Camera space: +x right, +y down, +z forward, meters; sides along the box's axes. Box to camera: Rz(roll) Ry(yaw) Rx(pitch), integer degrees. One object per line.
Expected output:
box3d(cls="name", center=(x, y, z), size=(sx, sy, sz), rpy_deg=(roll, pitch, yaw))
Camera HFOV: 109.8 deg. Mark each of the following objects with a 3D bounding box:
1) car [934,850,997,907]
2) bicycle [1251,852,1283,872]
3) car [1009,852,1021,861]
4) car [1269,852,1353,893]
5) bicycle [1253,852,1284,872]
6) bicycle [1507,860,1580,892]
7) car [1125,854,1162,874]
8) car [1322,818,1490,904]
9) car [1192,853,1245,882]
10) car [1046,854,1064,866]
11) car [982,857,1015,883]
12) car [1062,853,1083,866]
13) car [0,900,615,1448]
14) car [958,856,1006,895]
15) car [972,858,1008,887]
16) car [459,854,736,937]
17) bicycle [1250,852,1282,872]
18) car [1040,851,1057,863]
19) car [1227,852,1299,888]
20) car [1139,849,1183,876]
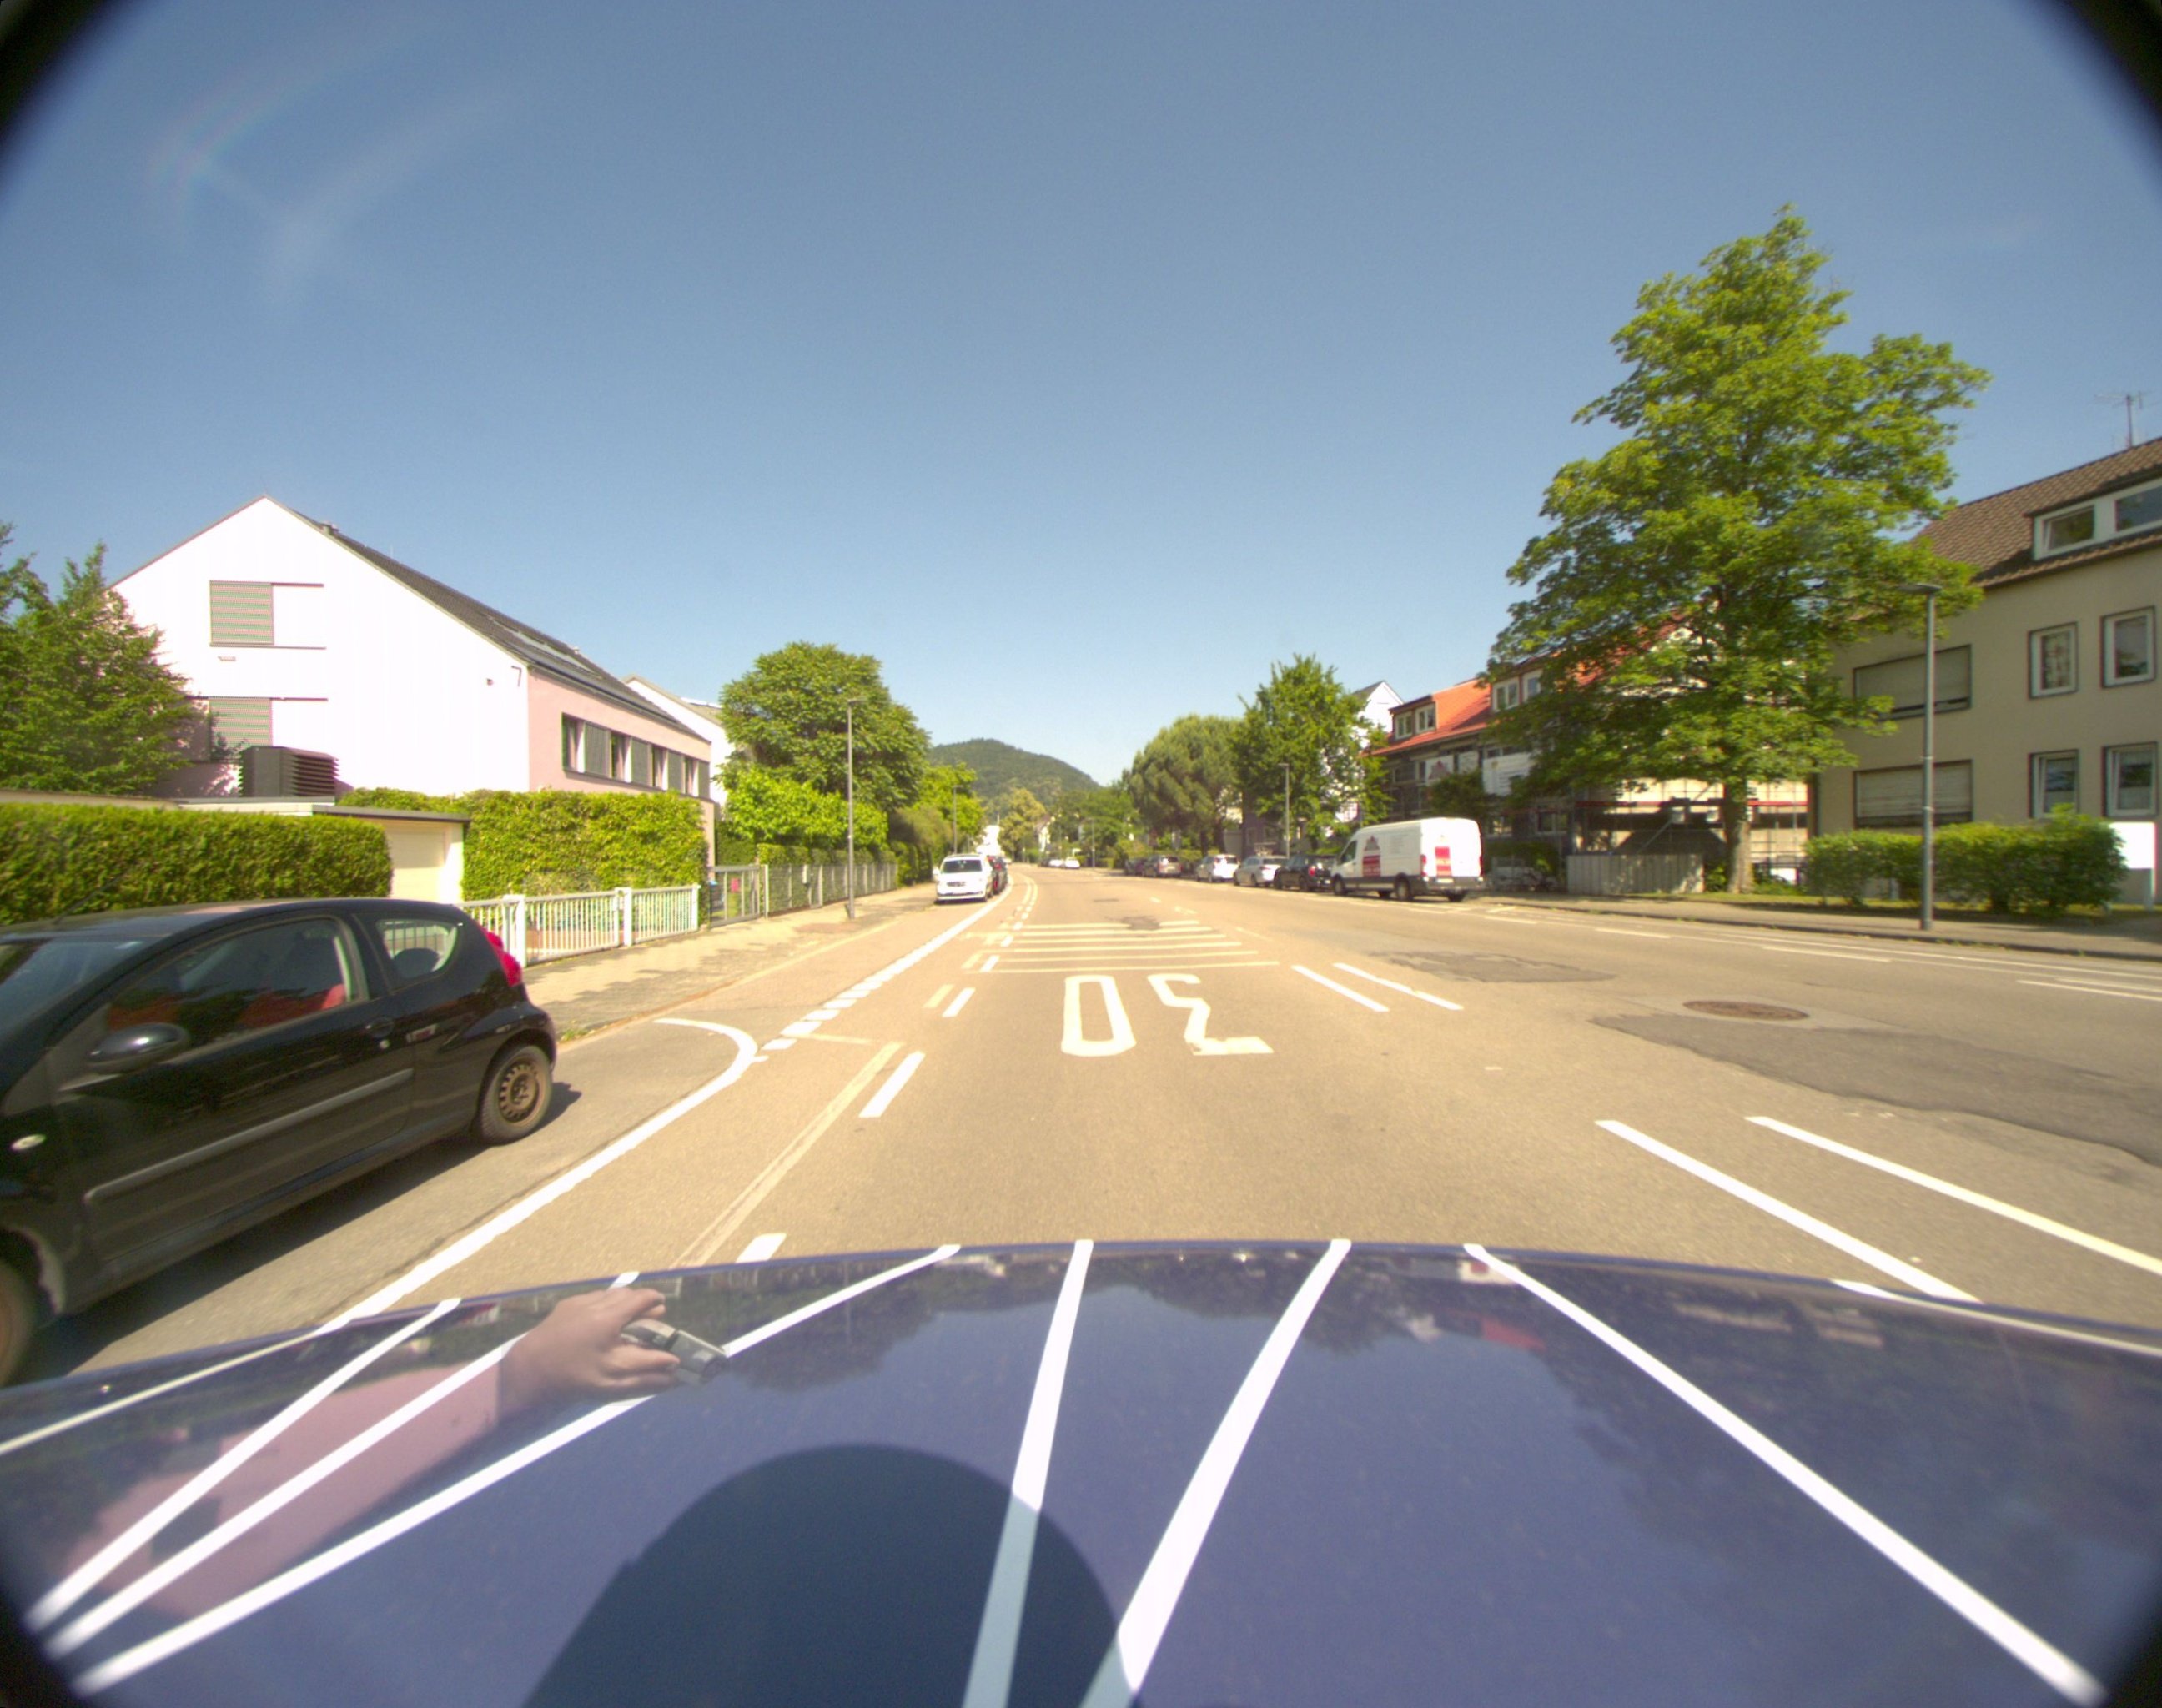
box3d(cls="car", center=(-4.216, 0.820, 28.363), size=(1.767, 1.816, 4.596), rpy_deg=(-3, 1, -3))
box3d(cls="bicycle", center=(13.198, 0.572, 53.982), size=(2.179, 1.375, 0.502), rpy_deg=(0, 0, -12))
box3d(cls="car", center=(-13.756, 0.475, 157.913), size=(2.007, 1.803, 4.761), rpy_deg=(0, 0, -10))
box3d(cls="car", center=(9.218, 0.697, 30.794), size=(1.726, 1.550, 3.997), rpy_deg=(0, 0, -8))
box3d(cls="bicycle", center=(13.490, 0.577, 54.609), size=(2.179, 1.375, 0.502), rpy_deg=(0, 0, -12))
box3d(cls="bicycle", center=(15.631, 0.731, 25.705), size=(2.074, 0.995, 0.775), rpy_deg=(-1, 1, -7))
box3d(cls="car", center=(4.730, 0.778, 57.863), size=(1.847, 1.448, 4.190), rpy_deg=(0, 0, -10))
box3d(cls="car", center=(10.400, 0.229, 25.017), size=(2.096, 2.482, 5.947), rpy_deg=(0, 0, -11))
box3d(cls="car", center=(7.491, 0.713, 41.843), size=(1.726, 1.550, 3.997), rpy_deg=(0, 0, -8))
box3d(cls="car", center=(-3.589, 0.759, 104.495), size=(2.000, 1.608, 3.997), rpy_deg=(-1, 0, -9))
box3d(cls="car", center=(-5.158, 0.985, 47.946), size=(1.817, 1.454, 4.786), rpy_deg=(-4, 0, -4))
box3d(cls="car", center=(-1.018, 0.619, 91.998), size=(1.960, 1.543, 3.997), rpy_deg=(-1, 0, -9))
box3d(cls="car", center=(-3.995, 1.075, 3.140), size=(1.621, 1.382, 3.999), rpy_deg=(-4, 1, -1))
box3d(cls="car", center=(-4.337, 0.922, 33.784), size=(1.767, 1.584, 4.312), rpy_deg=(-1, 0, -3))
box3d(cls="car", center=(-4.761, 0.932, 39.572), size=(1.768, 1.435, 4.066), rpy_deg=(0, 0, -7))
box3d(cls="car", center=(-11.094, 0.909, 17.768), size=(5.101, 1.696, 1.978), rpy_deg=(-1, 0, -3))
box3d(cls="bicycle", center=(12.964, 0.551, 53.374), size=(2.179, 1.375, 0.502), rpy_deg=(0, 0, -12))
box3d(cls="car", center=(-4.839, 0.453, 113.111), size=(2.000, 1.674, 3.997), rpy_deg=(-1, 0, -9))
box3d(cls="car", center=(8.427, 0.713, 35.623), size=(1.726, 1.550, 4.669), rpy_deg=(0, 0, -8))
box3d(cls="car", center=(5.500, 0.594, 52.660), size=(1.847, 1.754, 4.582), rpy_deg=(0, 0, -10))
